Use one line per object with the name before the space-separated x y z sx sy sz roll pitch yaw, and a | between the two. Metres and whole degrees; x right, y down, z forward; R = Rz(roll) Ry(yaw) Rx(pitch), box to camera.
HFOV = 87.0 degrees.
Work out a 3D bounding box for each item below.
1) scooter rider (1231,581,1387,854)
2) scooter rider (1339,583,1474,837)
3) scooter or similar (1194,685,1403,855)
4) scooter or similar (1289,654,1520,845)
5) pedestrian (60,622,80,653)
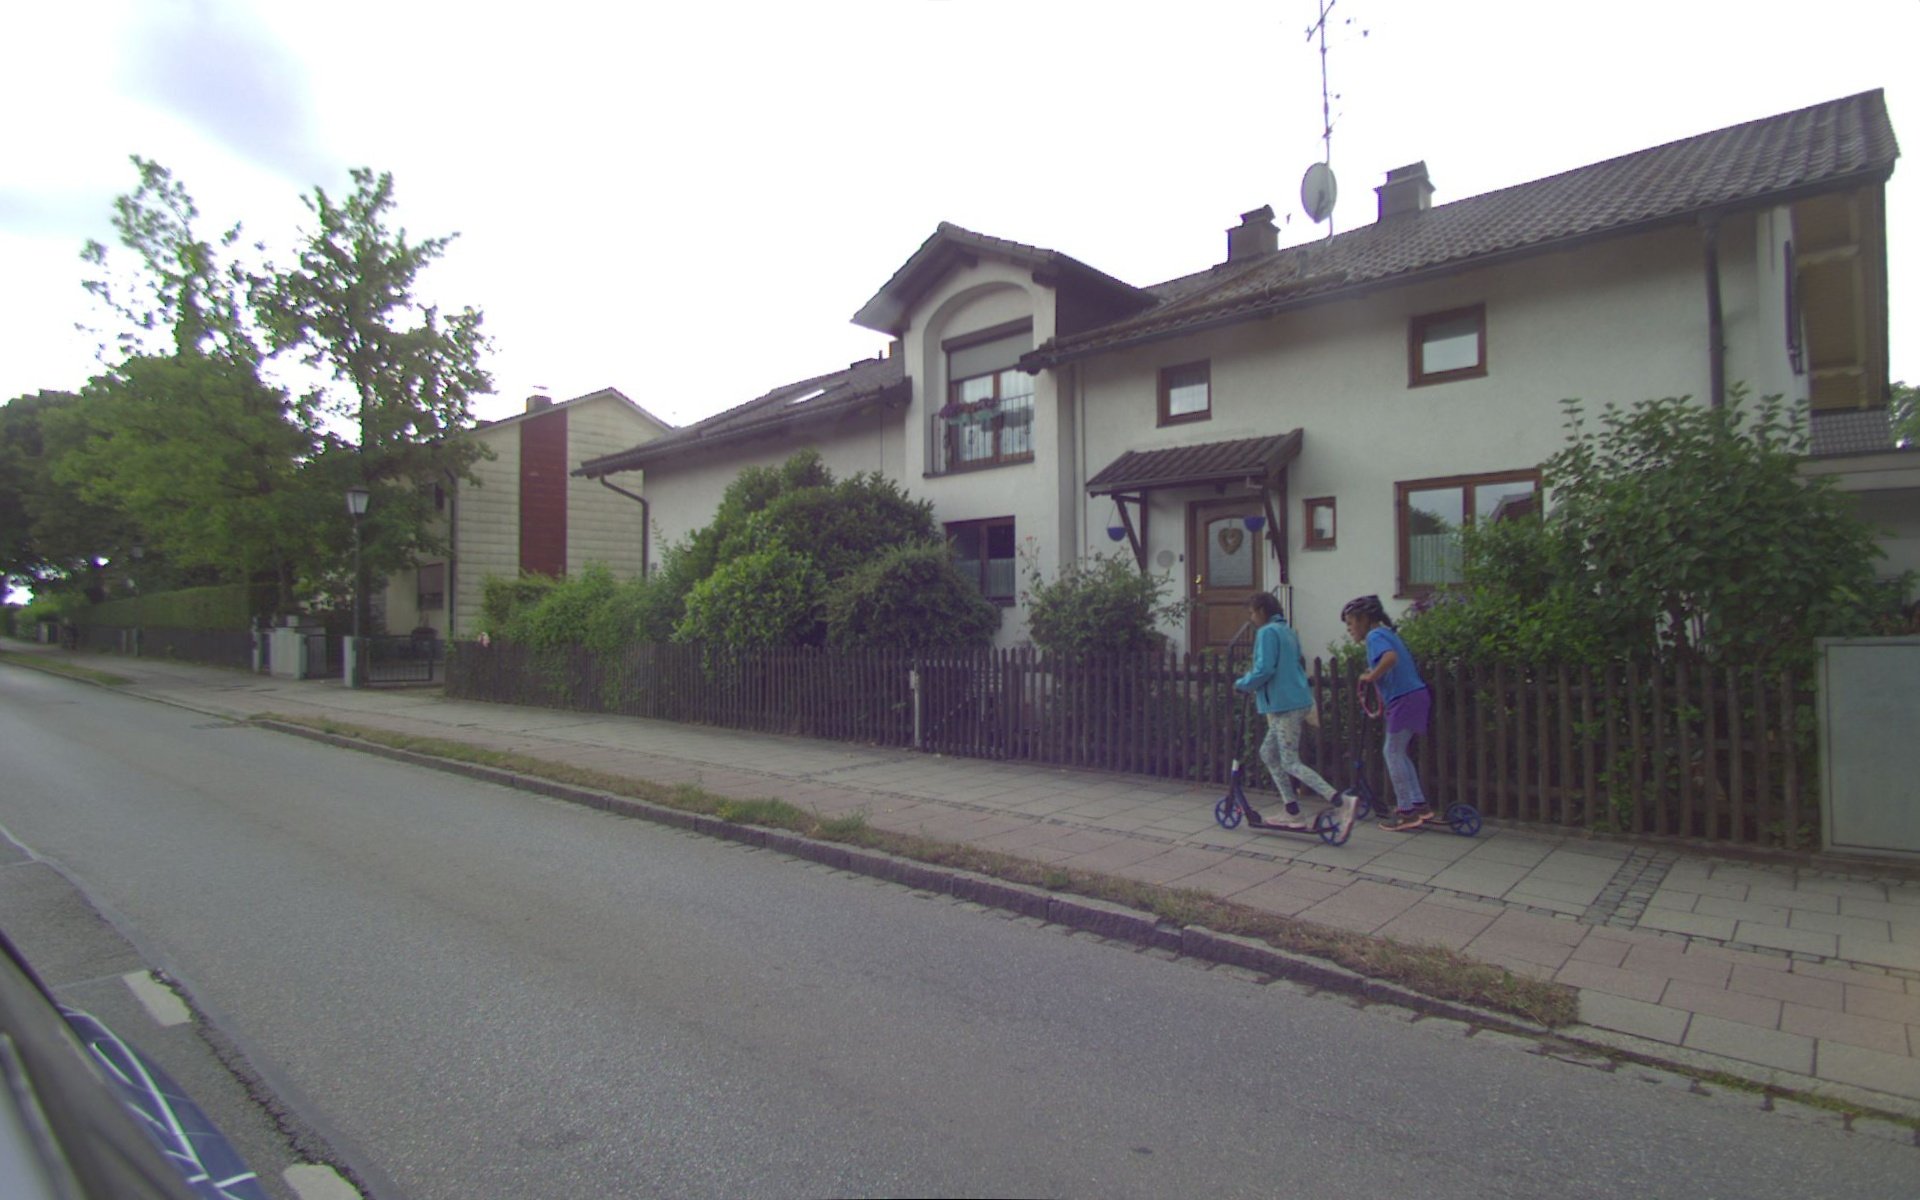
scooter rider | 2.062 0.652 5.994 0.716 1.501 0.497 -2 -1 41
scooter rider | 2.807 0.649 6.360 0.580 1.484 0.655 -2 -1 42
scooter or similar | 2.009 0.971 6.057 1.061 0.856 0.516 -2 -1 42
scooter or similar | 2.778 0.879 6.372 1.178 1.045 0.654 -2 -2 43
pedestrian | -41.714 1.758 47.435 0.563 1.448 0.622 -2 -2 41
